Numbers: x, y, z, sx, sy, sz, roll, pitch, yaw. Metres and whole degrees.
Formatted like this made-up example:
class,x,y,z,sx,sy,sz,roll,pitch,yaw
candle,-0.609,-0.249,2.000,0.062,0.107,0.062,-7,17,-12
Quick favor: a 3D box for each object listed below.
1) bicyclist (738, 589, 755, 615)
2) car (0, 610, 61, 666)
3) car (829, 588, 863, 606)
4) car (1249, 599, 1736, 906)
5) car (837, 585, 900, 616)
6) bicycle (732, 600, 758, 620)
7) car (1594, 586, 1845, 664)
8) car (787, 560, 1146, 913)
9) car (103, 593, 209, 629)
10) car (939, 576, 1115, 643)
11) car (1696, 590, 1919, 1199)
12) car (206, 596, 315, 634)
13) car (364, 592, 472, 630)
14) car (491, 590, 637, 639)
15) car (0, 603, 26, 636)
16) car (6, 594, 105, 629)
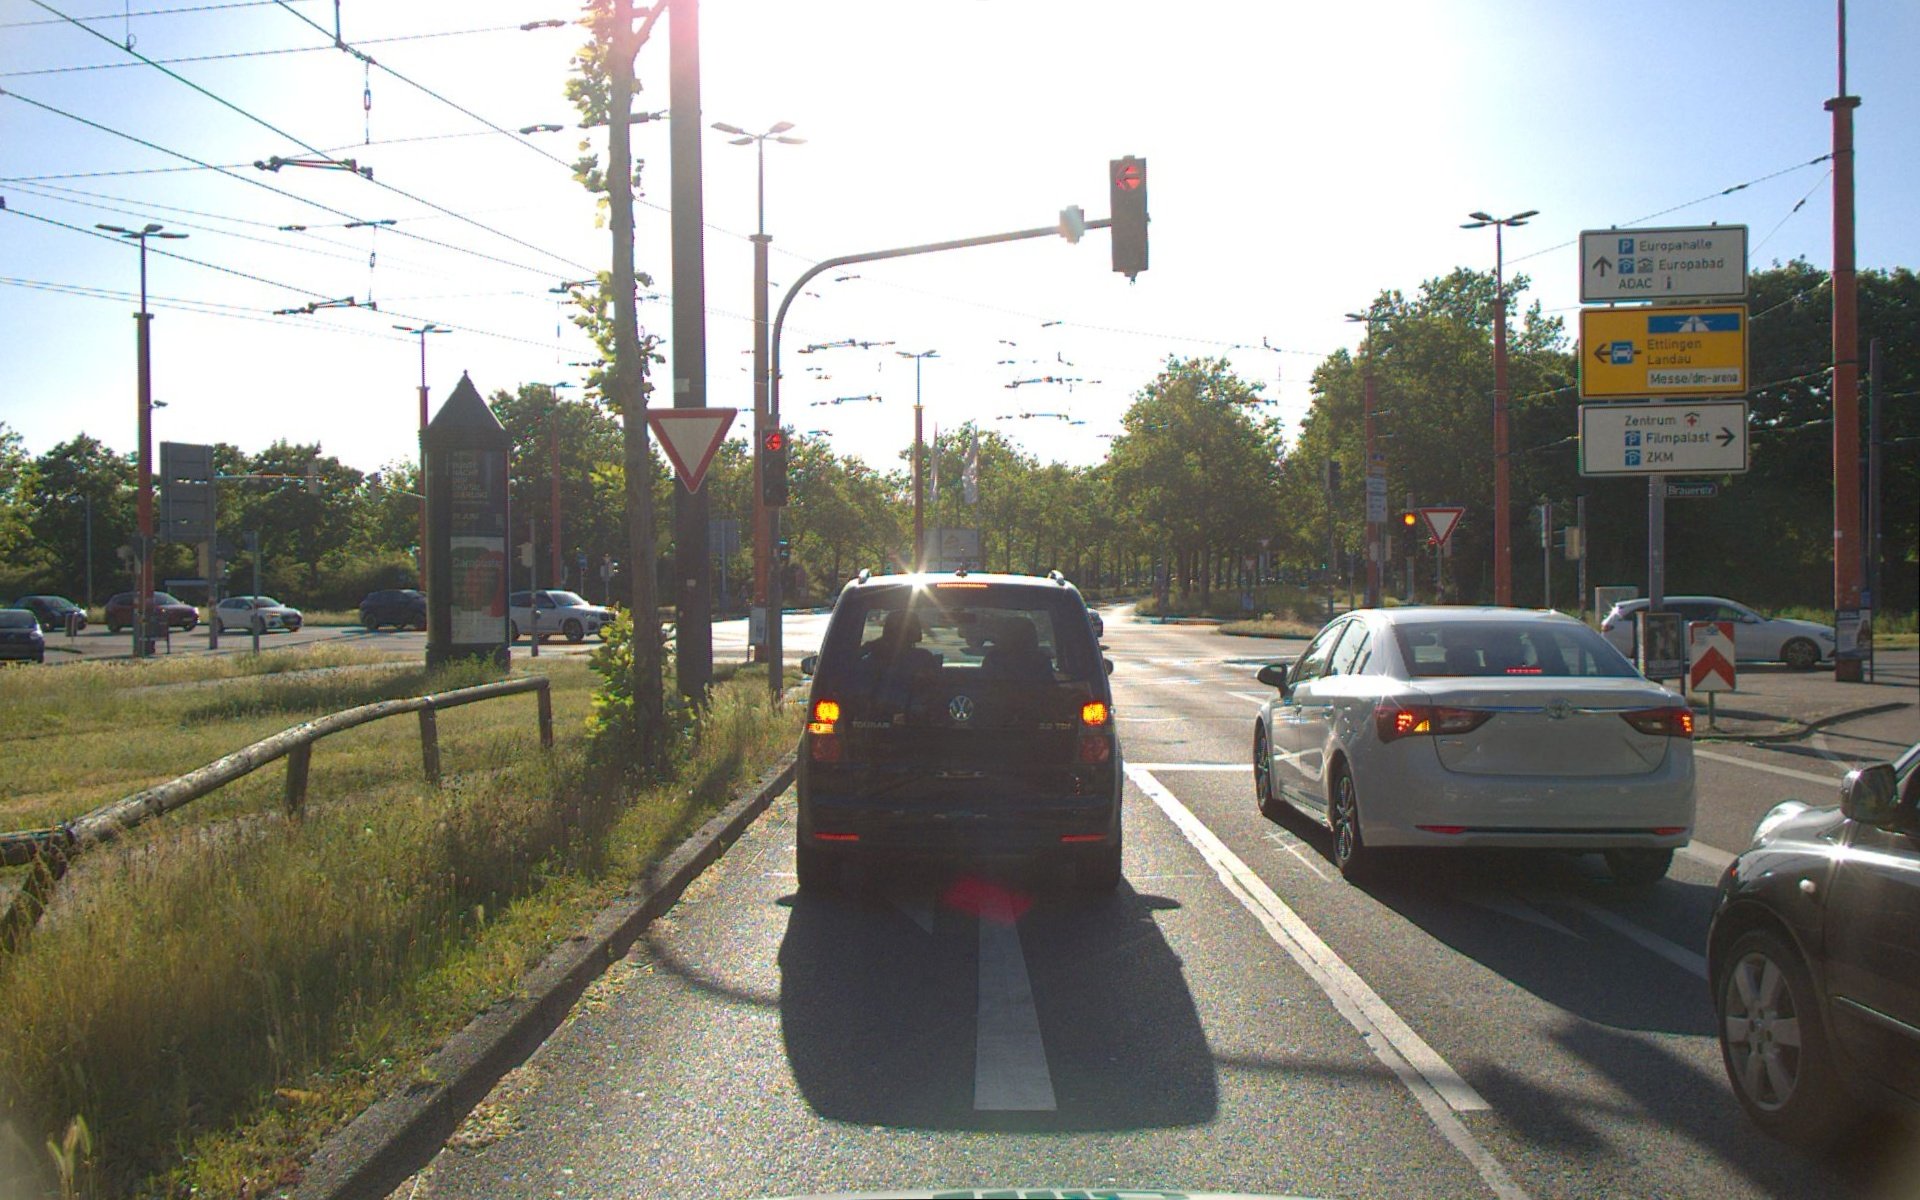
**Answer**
class,x,y,z,sx,sy,sz,roll,pitch,yaw
bicyclist,-12.200,0.092,94.438,0.678,1.483,0.875,0,0,17
car,-25.918,1.025,45.546,1.804,1.445,3.716,0,0,-33
car,-8.408,-0.245,122.426,1.622,1.333,3.818,0,0,11
car,2.947,0.739,10.107,1.679,1.480,4.144,0,0,0
car,-5.060,0.023,91.905,1.951,1.714,4.831,0,0,17
bicycle,-12.231,0.567,94.219,0.719,1.109,1.962,0,0,18
car,16.435,0.514,35.873,4.819,1.602,1.997,0,0,28
car,0.005,0.642,9.863,1.702,1.670,3.999,0,0,-1
car,-34.336,0.440,70.614,4.275,1.489,1.912,0,0,27
car,1.912,0.262,47.551,4.687,1.868,1.912,0,0,27
car,3.126,0.742,3.508,1.525,1.532,3.515,0,0,-1
car,-28.583,0.600,67.597,4.127,1.489,1.912,0,0,27
car,-22.244,0.443,67.864,4.127,1.489,1.912,0,0,27
car,-13.410,0.475,55.955,4.687,1.626,1.912,0,0,27
car,-45.051,0.878,75.768,4.143,1.489,1.913,0,0,26
car,-40.003,0.497,73.161,3.963,1.489,1.912,0,0,26
